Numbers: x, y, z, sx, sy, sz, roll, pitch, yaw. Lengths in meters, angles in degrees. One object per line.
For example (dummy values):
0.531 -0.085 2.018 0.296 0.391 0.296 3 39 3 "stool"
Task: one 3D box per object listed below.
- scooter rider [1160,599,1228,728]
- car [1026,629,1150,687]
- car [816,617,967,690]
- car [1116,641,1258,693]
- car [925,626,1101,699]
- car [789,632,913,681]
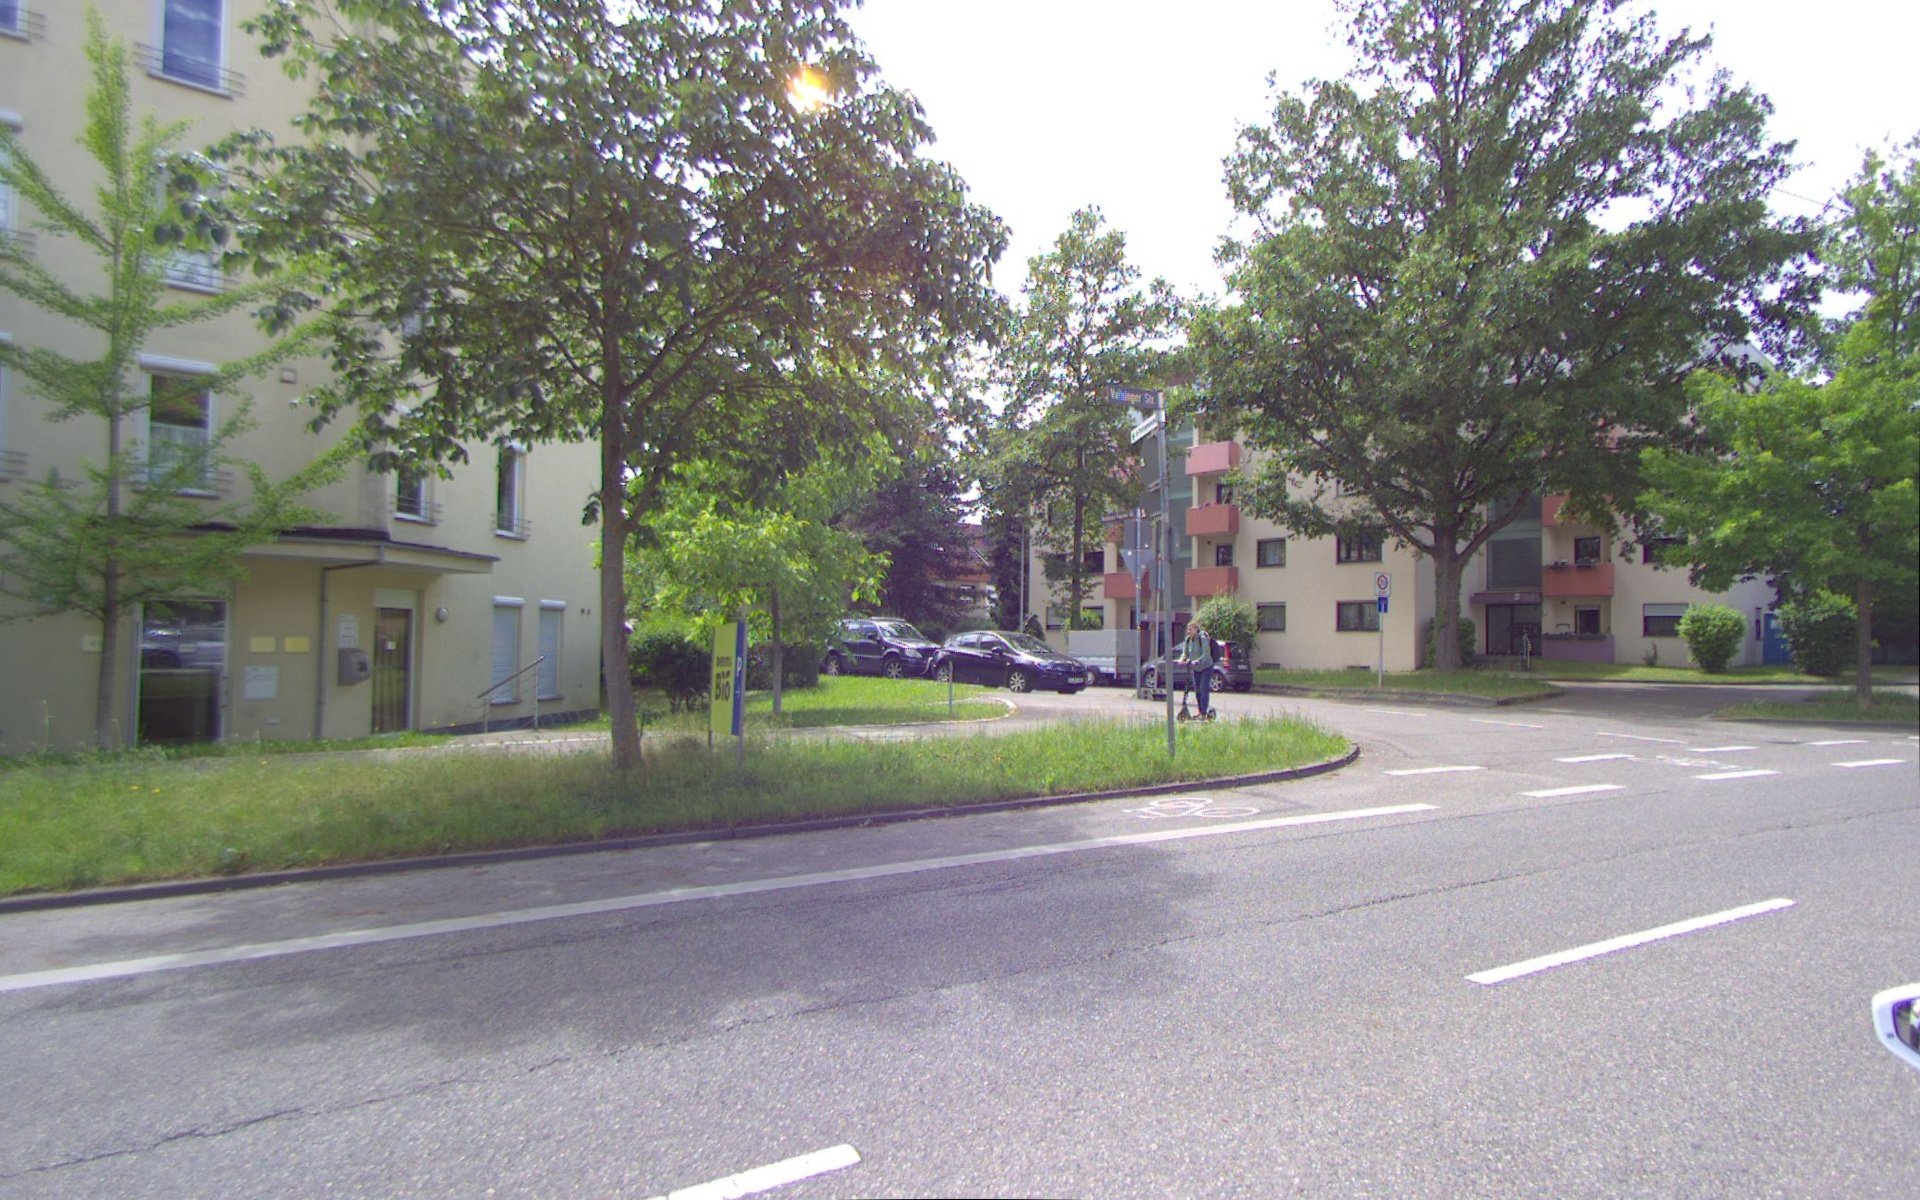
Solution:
3.820 1.017 16.420 0.785 2.040 0.673 2 0 -30 "scooter rider"
4.298 1.997 34.148 1.832 1.868 3.952 2 -5 -42 "car"
-1.978 1.410 27.690 1.857 1.675 4.379 2 0 -41 "car"
6.861 2.009 30.641 3.945 1.471 1.687 -2 -4 43 "car"
1.169 1.409 23.730 1.725 1.417 4.100 2 0 -42 "car"
-4.234 2.140 39.053 4.337 1.817 2.124 -1 -2 28 "car"
